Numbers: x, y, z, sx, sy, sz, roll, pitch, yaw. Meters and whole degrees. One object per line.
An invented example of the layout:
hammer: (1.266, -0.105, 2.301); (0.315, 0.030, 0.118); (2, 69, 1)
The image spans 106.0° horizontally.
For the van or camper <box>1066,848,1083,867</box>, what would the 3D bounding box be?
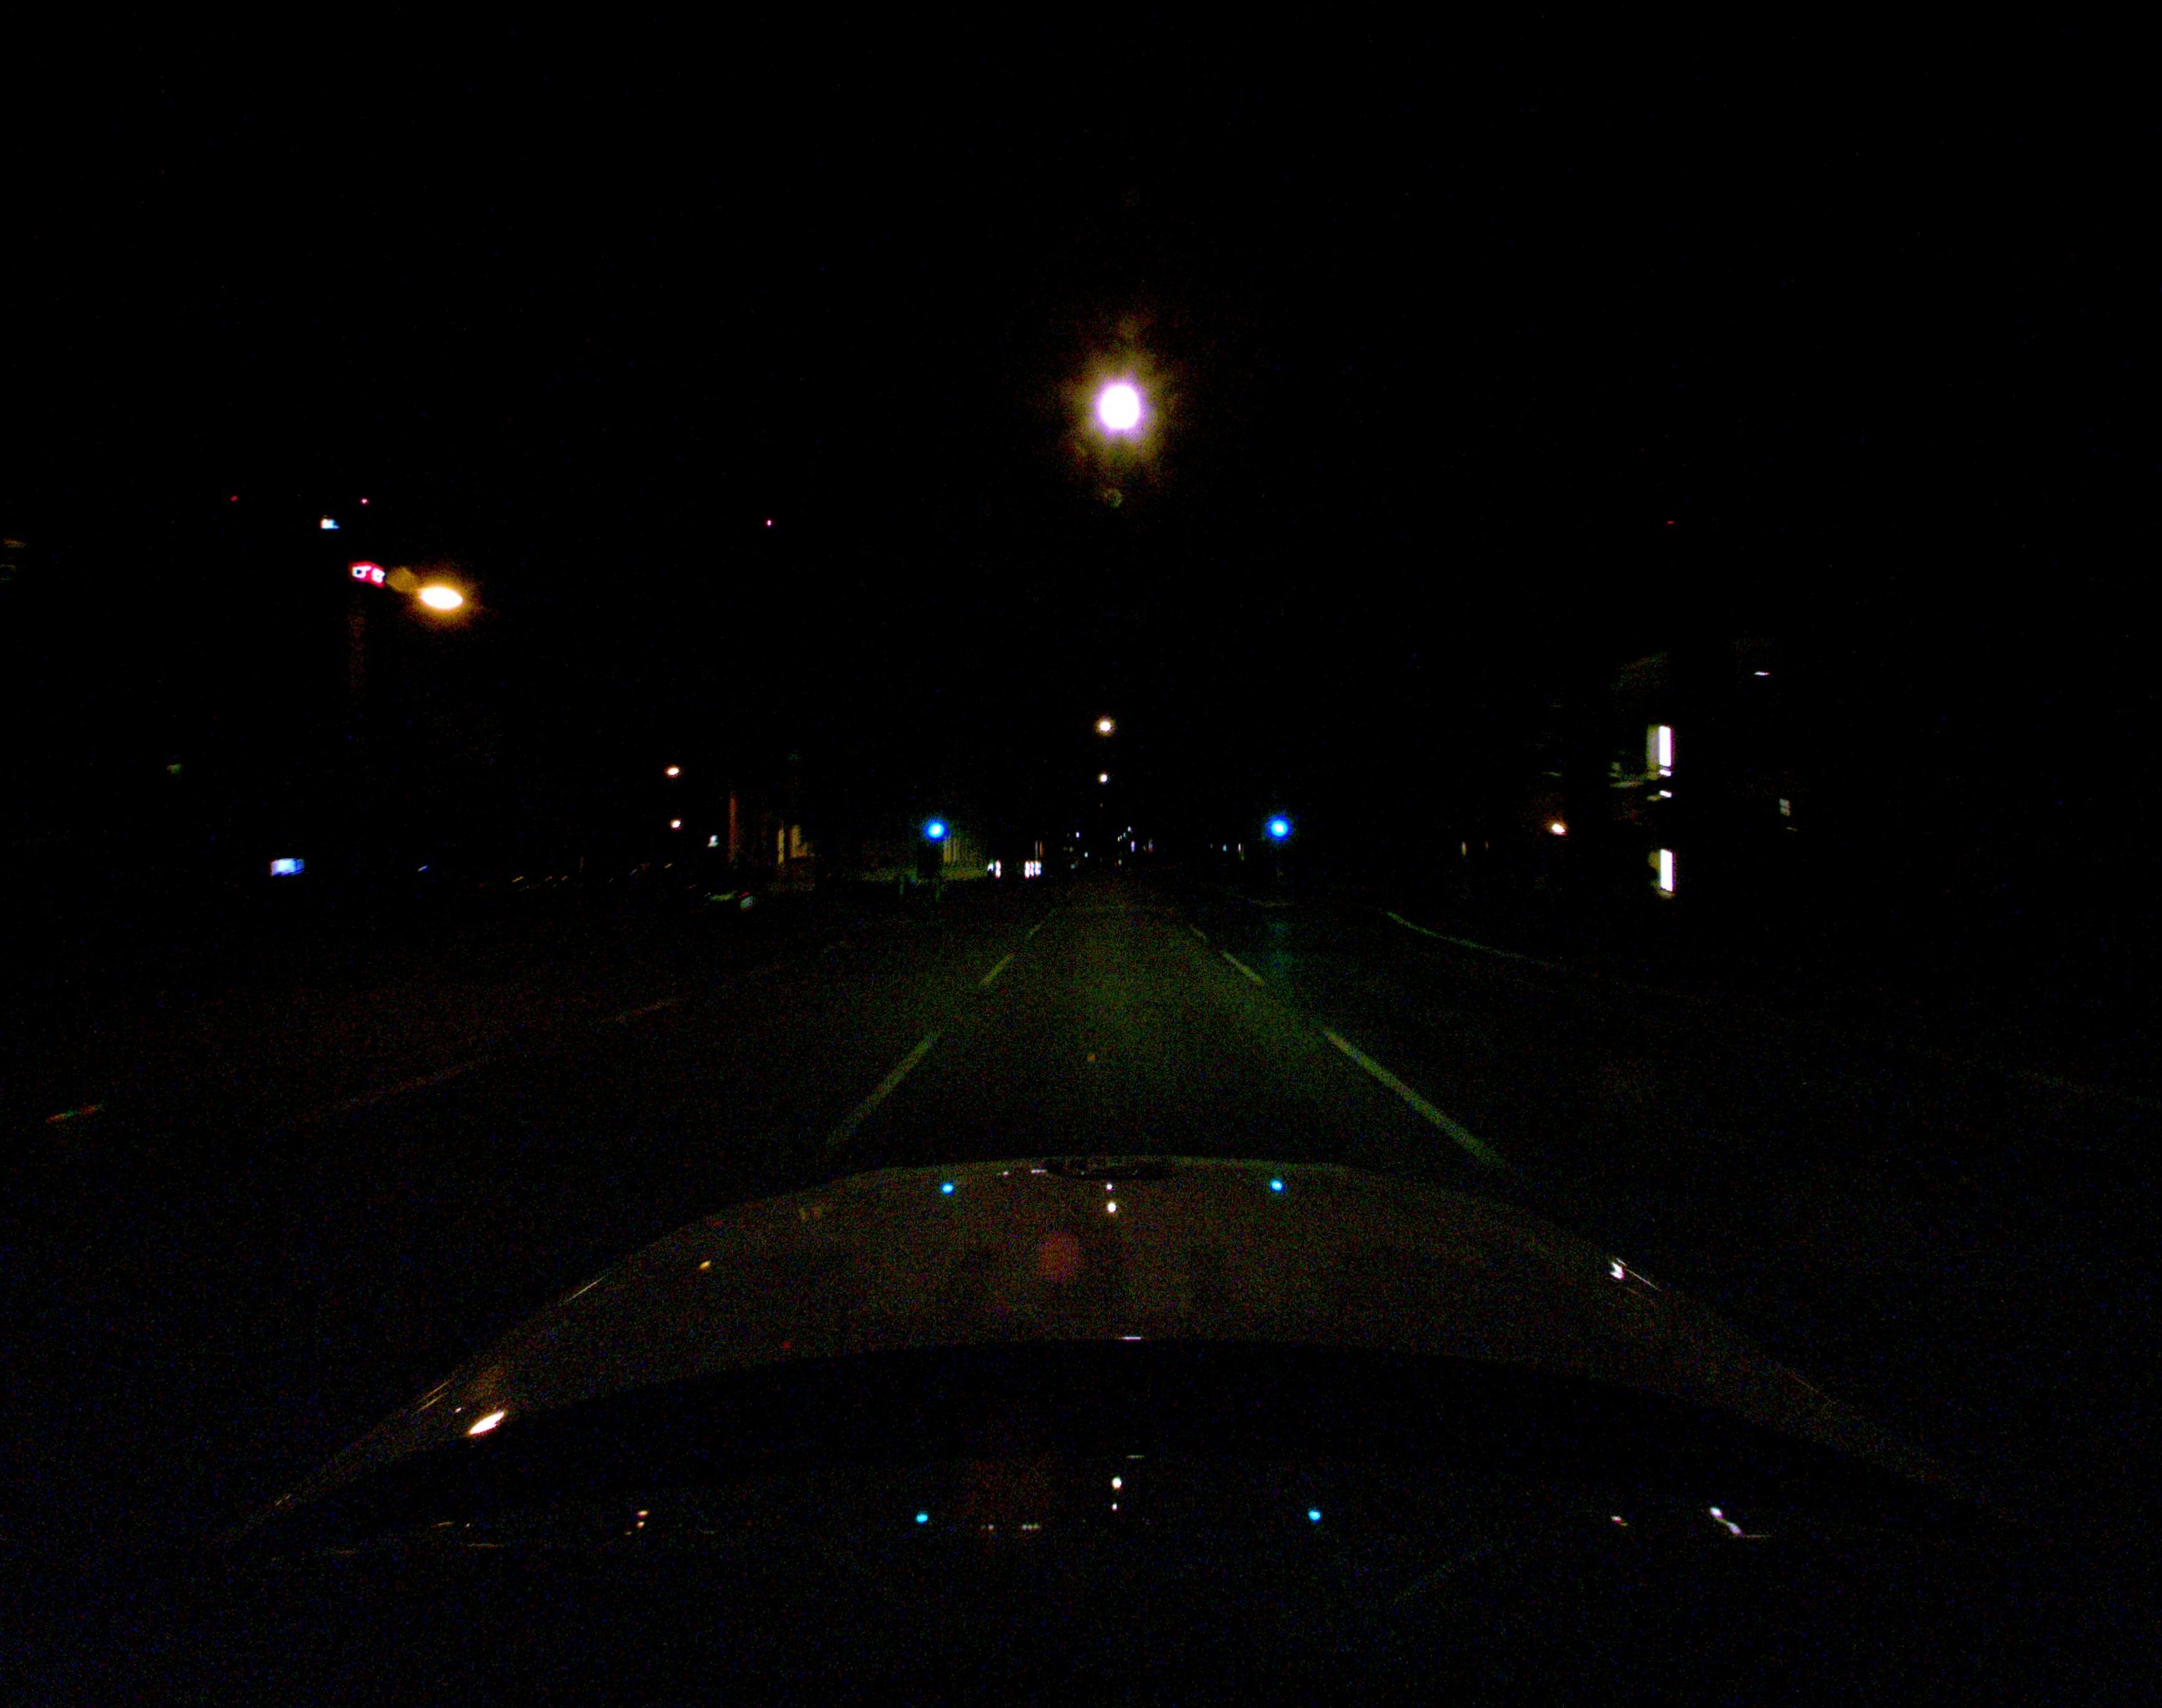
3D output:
van or camper: (-0.906, 0.504, 116.374); (2.150, 2.535, 6.227); (-3, 0, 1)

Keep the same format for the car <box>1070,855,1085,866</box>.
car: (-0.590, 1.016, 127.250); (1.836, 1.507, 4.733); (-3, 0, -5)

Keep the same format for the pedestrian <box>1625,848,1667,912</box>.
pedestrian: (13.638, 0.619, 19.667); (0.570, 1.533, 0.634); (-1, 0, 1)

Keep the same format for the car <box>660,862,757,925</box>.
car: (-9.922, 0.961, 21.501); (1.898, 1.424, 4.684); (-2, 0, -30)

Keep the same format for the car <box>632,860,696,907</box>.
car: (-15.478, 1.062, 30.318); (1.924, 1.644, 4.075); (2, -2, -27)

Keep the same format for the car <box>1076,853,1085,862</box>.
car: (-0.131, 0.692, 155.572); (1.671, 1.566, 4.105); (-1, -1, 1)

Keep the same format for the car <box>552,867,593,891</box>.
car: (-32.957, 1.599, 52.908); (1.775, 1.460, 3.967); (-1, 0, -25)

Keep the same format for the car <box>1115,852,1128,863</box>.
car: (6.363, 0.504, 126.675); (1.876, 1.603, 4.111); (-3, -1, 3)

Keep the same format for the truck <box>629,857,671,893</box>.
truck: (-23.442, 1.141, 44.403); (1.900, 1.807, 4.077); (-1, -1, -27)

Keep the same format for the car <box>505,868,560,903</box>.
car: (-26.146, 1.456, 38.916); (1.609, 1.489, 3.527); (-2, 1, -25)

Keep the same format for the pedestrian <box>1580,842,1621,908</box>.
pedestrian: (13.264, 0.528, 20.806); (0.619, 1.639, 0.679); (-1, 0, 1)

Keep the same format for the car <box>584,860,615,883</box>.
car: (-39.741, 1.448, 67.288); (1.804, 1.809, 3.967); (-1, 0, -25)

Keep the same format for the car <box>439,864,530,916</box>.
car: (-20.762, 1.205, 28.505); (1.847, 1.613, 4.222); (-2, 0, -27)

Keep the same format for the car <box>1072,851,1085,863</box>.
car: (-0.464, 0.585, 137.604); (1.986, 1.955, 4.807); (-1, 0, 1)

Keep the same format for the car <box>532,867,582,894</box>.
car: (-30.908, 1.540, 48.104); (1.890, 1.449, 3.968); (-1, 0, -24)

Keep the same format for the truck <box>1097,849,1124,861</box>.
truck: (7.354, 0.295, 204.270); (6.758, 2.844, 1.999); (0, 0, -2)

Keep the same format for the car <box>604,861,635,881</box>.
car: (-41.792, 1.534, 73.801); (1.905, 1.735, 3.970); (-1, -1, -22)

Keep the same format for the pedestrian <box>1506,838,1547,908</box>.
pedestrian: (11.708, 0.485, 21.418); (0.619, 1.811, 0.759); (-1, 0, 1)

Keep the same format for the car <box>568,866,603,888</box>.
car: (-35.079, 1.597, 57.731); (1.724, 1.496, 3.554); (-1, 0, -25)

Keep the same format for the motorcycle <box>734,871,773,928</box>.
motorcycle: (-7.342, 0.986, 18.295); (0.573, 1.180, 2.021); (-1, 0, -16)
